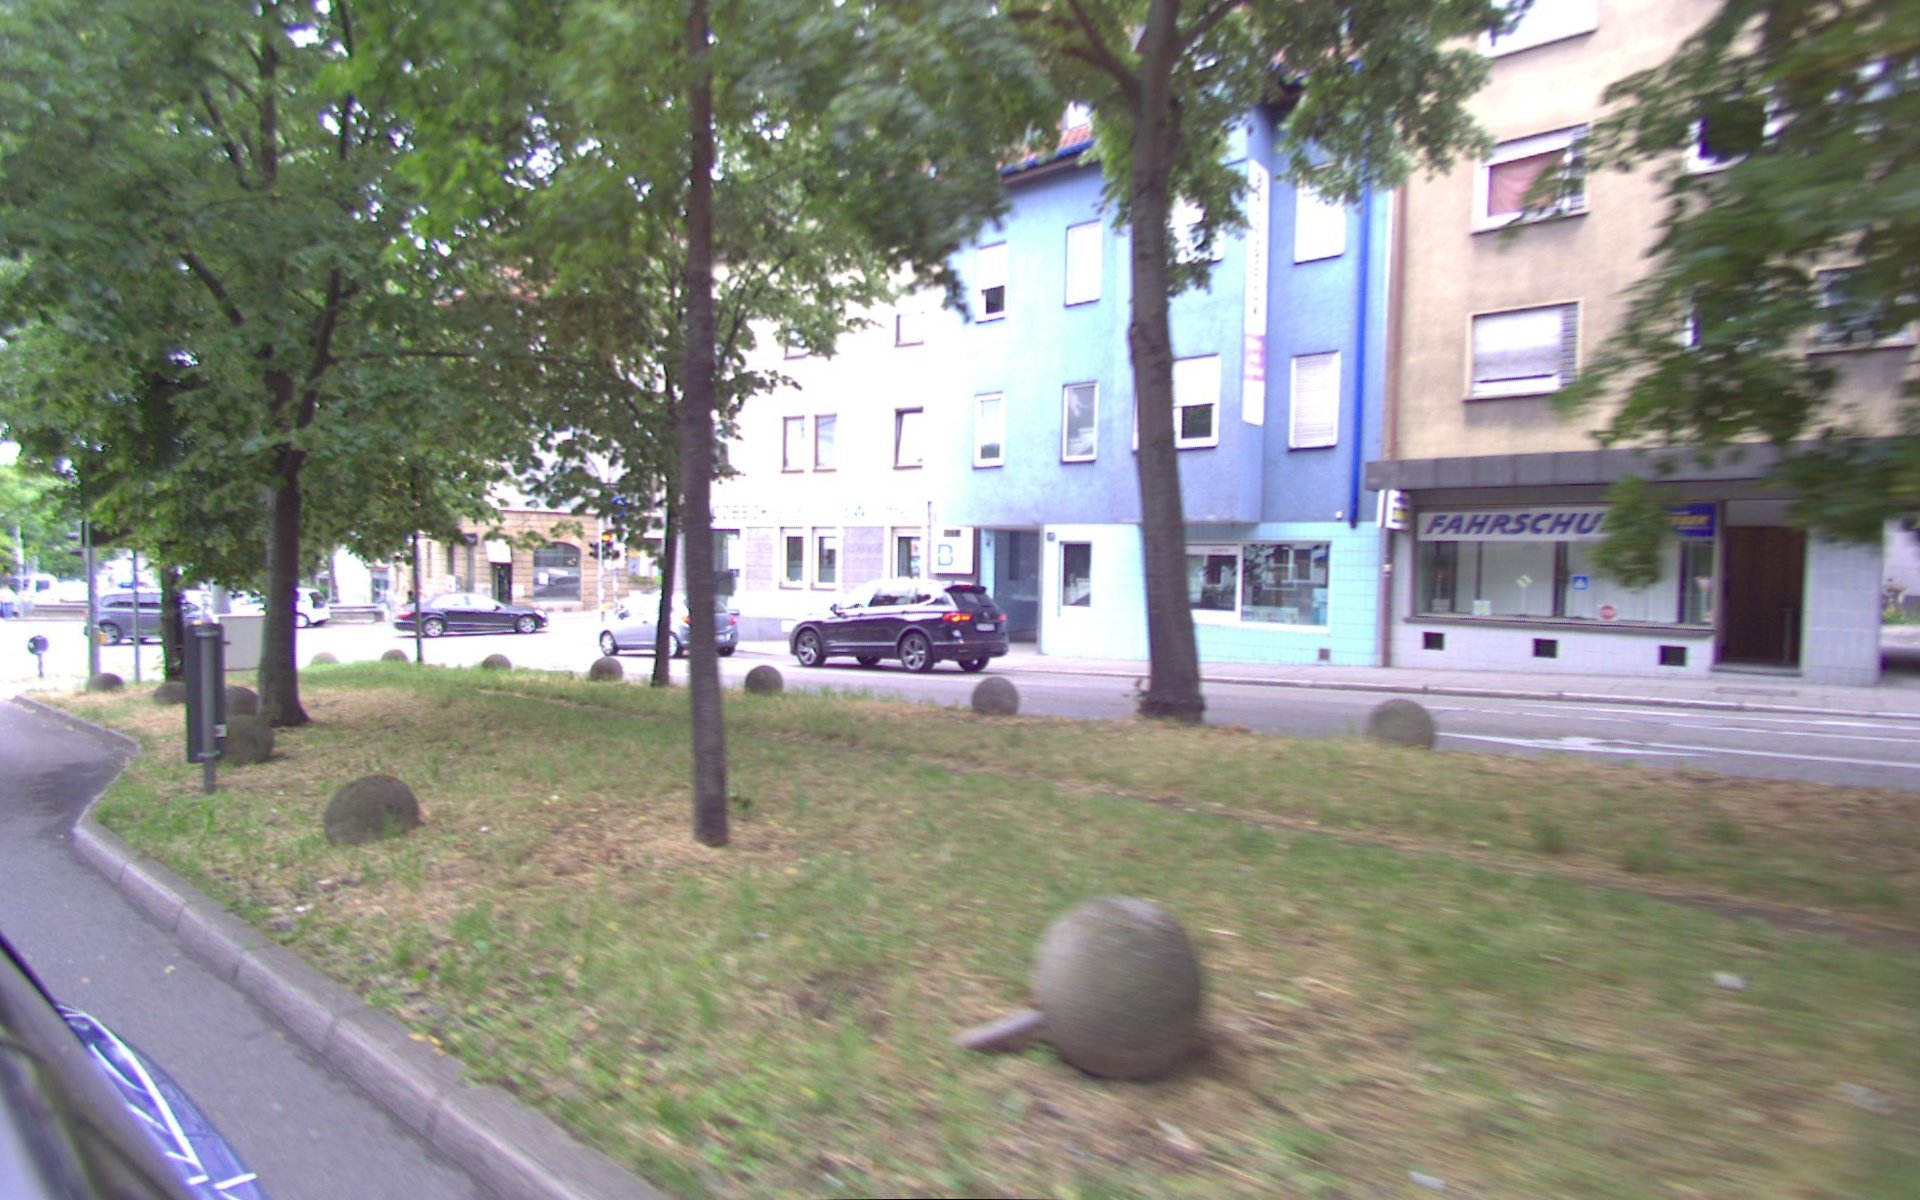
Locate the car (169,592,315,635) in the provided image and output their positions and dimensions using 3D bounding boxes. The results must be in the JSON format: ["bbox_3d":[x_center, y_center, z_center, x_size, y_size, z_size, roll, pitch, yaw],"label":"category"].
[{"bbox_3d":[-25.765,0.463,36.466,3.896,1.441,1.801,0,2,-14],"label":"car"}]

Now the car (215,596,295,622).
[{"bbox_3d":[-46.198,0.548,66.342,3.873,1.610,1.896,0,2,-5],"label":"car"}]

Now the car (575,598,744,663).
[{"bbox_3d":[-7.140,0.685,23.845,4.288,1.417,1.653,-1,-1,38],"label":"car"}]

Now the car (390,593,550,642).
[{"bbox_3d":[-16.568,0.556,34.313,4.659,1.430,1.847,-1,3,-33],"label":"car"}]

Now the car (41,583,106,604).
[{"bbox_3d":[-77.422,-0.612,88.422,1.877,1.717,3.912,1,2,17],"label":"car"}]

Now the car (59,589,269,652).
[{"bbox_3d":[-24.334,0.589,31.123,4.651,1.626,1.864,-3,2,-12],"label":"car"}]

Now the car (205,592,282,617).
[{"bbox_3d":[-48.617,0.283,68.743,3.873,1.610,1.896,0,2,-5],"label":"car"}]

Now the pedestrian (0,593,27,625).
[{"bbox_3d":[-41.175,0.388,43.980,0.621,1.351,0.662,0,2,7],"label":"pedestrian"}]

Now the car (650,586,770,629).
[{"bbox_3d":[-9.691,0.253,39.308,4.199,1.351,1.711,-2,6,-38],"label":"car"}]

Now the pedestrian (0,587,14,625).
[{"bbox_3d":[-41.955,0.260,44.082,0.793,1.595,0.705,0,2,6],"label":"pedestrian"}]

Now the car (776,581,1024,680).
[{"bbox_3d":[-1.219,0.501,19.020,4.675,1.649,1.798,1,-1,39],"label":"car"}]

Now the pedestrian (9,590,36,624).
[{"bbox_3d":[-40.573,0.292,43.799,0.594,1.443,0.604,0,2,7],"label":"pedestrian"}]

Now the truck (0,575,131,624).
[{"bbox_3d":[-53.244,0.007,59.883,2.738,2.744,6.444,-1,0,6],"label":"truck"}]

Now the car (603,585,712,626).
[{"bbox_3d":[-12.372,0.188,41.513,3.990,1.484,1.655,-2,3,-40],"label":"car"}]
